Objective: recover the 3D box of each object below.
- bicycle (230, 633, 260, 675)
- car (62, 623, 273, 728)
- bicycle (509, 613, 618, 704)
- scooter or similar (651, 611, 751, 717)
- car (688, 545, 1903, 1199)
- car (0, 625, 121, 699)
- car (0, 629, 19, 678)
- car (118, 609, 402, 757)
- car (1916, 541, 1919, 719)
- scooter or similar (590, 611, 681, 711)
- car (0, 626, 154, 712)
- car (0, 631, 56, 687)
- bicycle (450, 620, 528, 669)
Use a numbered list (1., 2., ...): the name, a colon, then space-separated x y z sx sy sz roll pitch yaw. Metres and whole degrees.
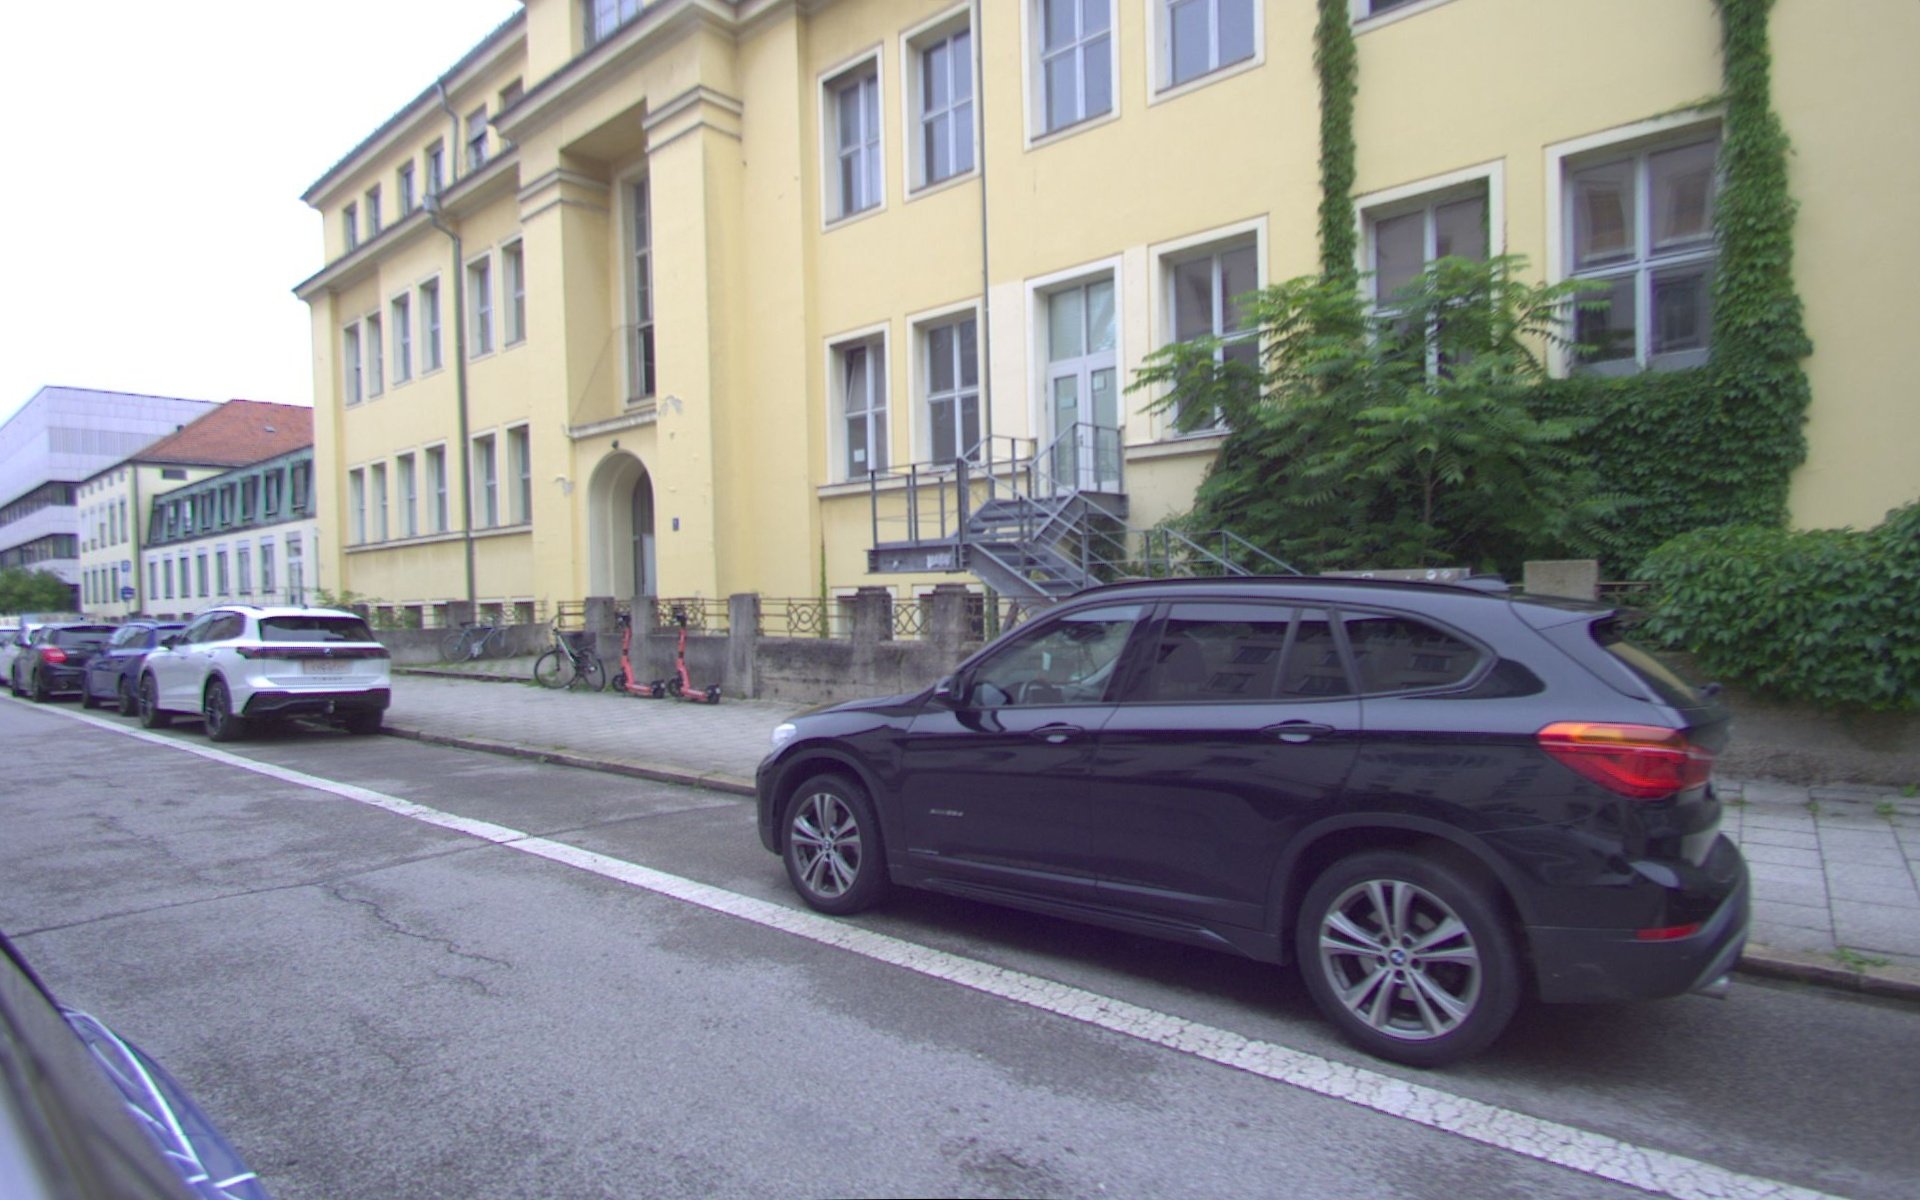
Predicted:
1. bicycle: -19.887 1.481 28.152 0.530 1.070 1.643 -2 1 -40
2. car: -13.180 1.179 16.738 4.490 1.514 1.686 -1 -5 39
3. bicycle: -6.344 0.902 16.136 2.112 1.338 0.674 -1 1 41
4. scooter or similar: -3.573 0.852 13.893 1.500 1.379 0.554 -2 -1 41
5. car: 0.956 0.725 4.689 4.812 1.599 1.772 -1 -2 38
6. car: -21.080 1.356 23.396 4.648 1.442 1.767 -1 1 40
7. car: -31.356 1.640 31.769 4.522 1.493 1.939 -1 -2 38
8. car: -9.435 0.970 13.484 4.849 1.646 1.729 -1 -1 38
9. car: 4.647 0.567 1.541 4.460 1.642 1.707 -1 -2 39
10. scooter or similar: -4.777 0.872 14.871 1.500 1.379 0.554 -2 -1 41
11. car: -17.318 1.284 19.742 4.145 1.508 1.682 -1 -3 40
12. car: -26.923 1.601 28.209 4.659 1.440 1.776 -1 -3 39
13. bicycle: -10.873 1.008 23.407 0.425 1.058 1.643 -2 -1 33
